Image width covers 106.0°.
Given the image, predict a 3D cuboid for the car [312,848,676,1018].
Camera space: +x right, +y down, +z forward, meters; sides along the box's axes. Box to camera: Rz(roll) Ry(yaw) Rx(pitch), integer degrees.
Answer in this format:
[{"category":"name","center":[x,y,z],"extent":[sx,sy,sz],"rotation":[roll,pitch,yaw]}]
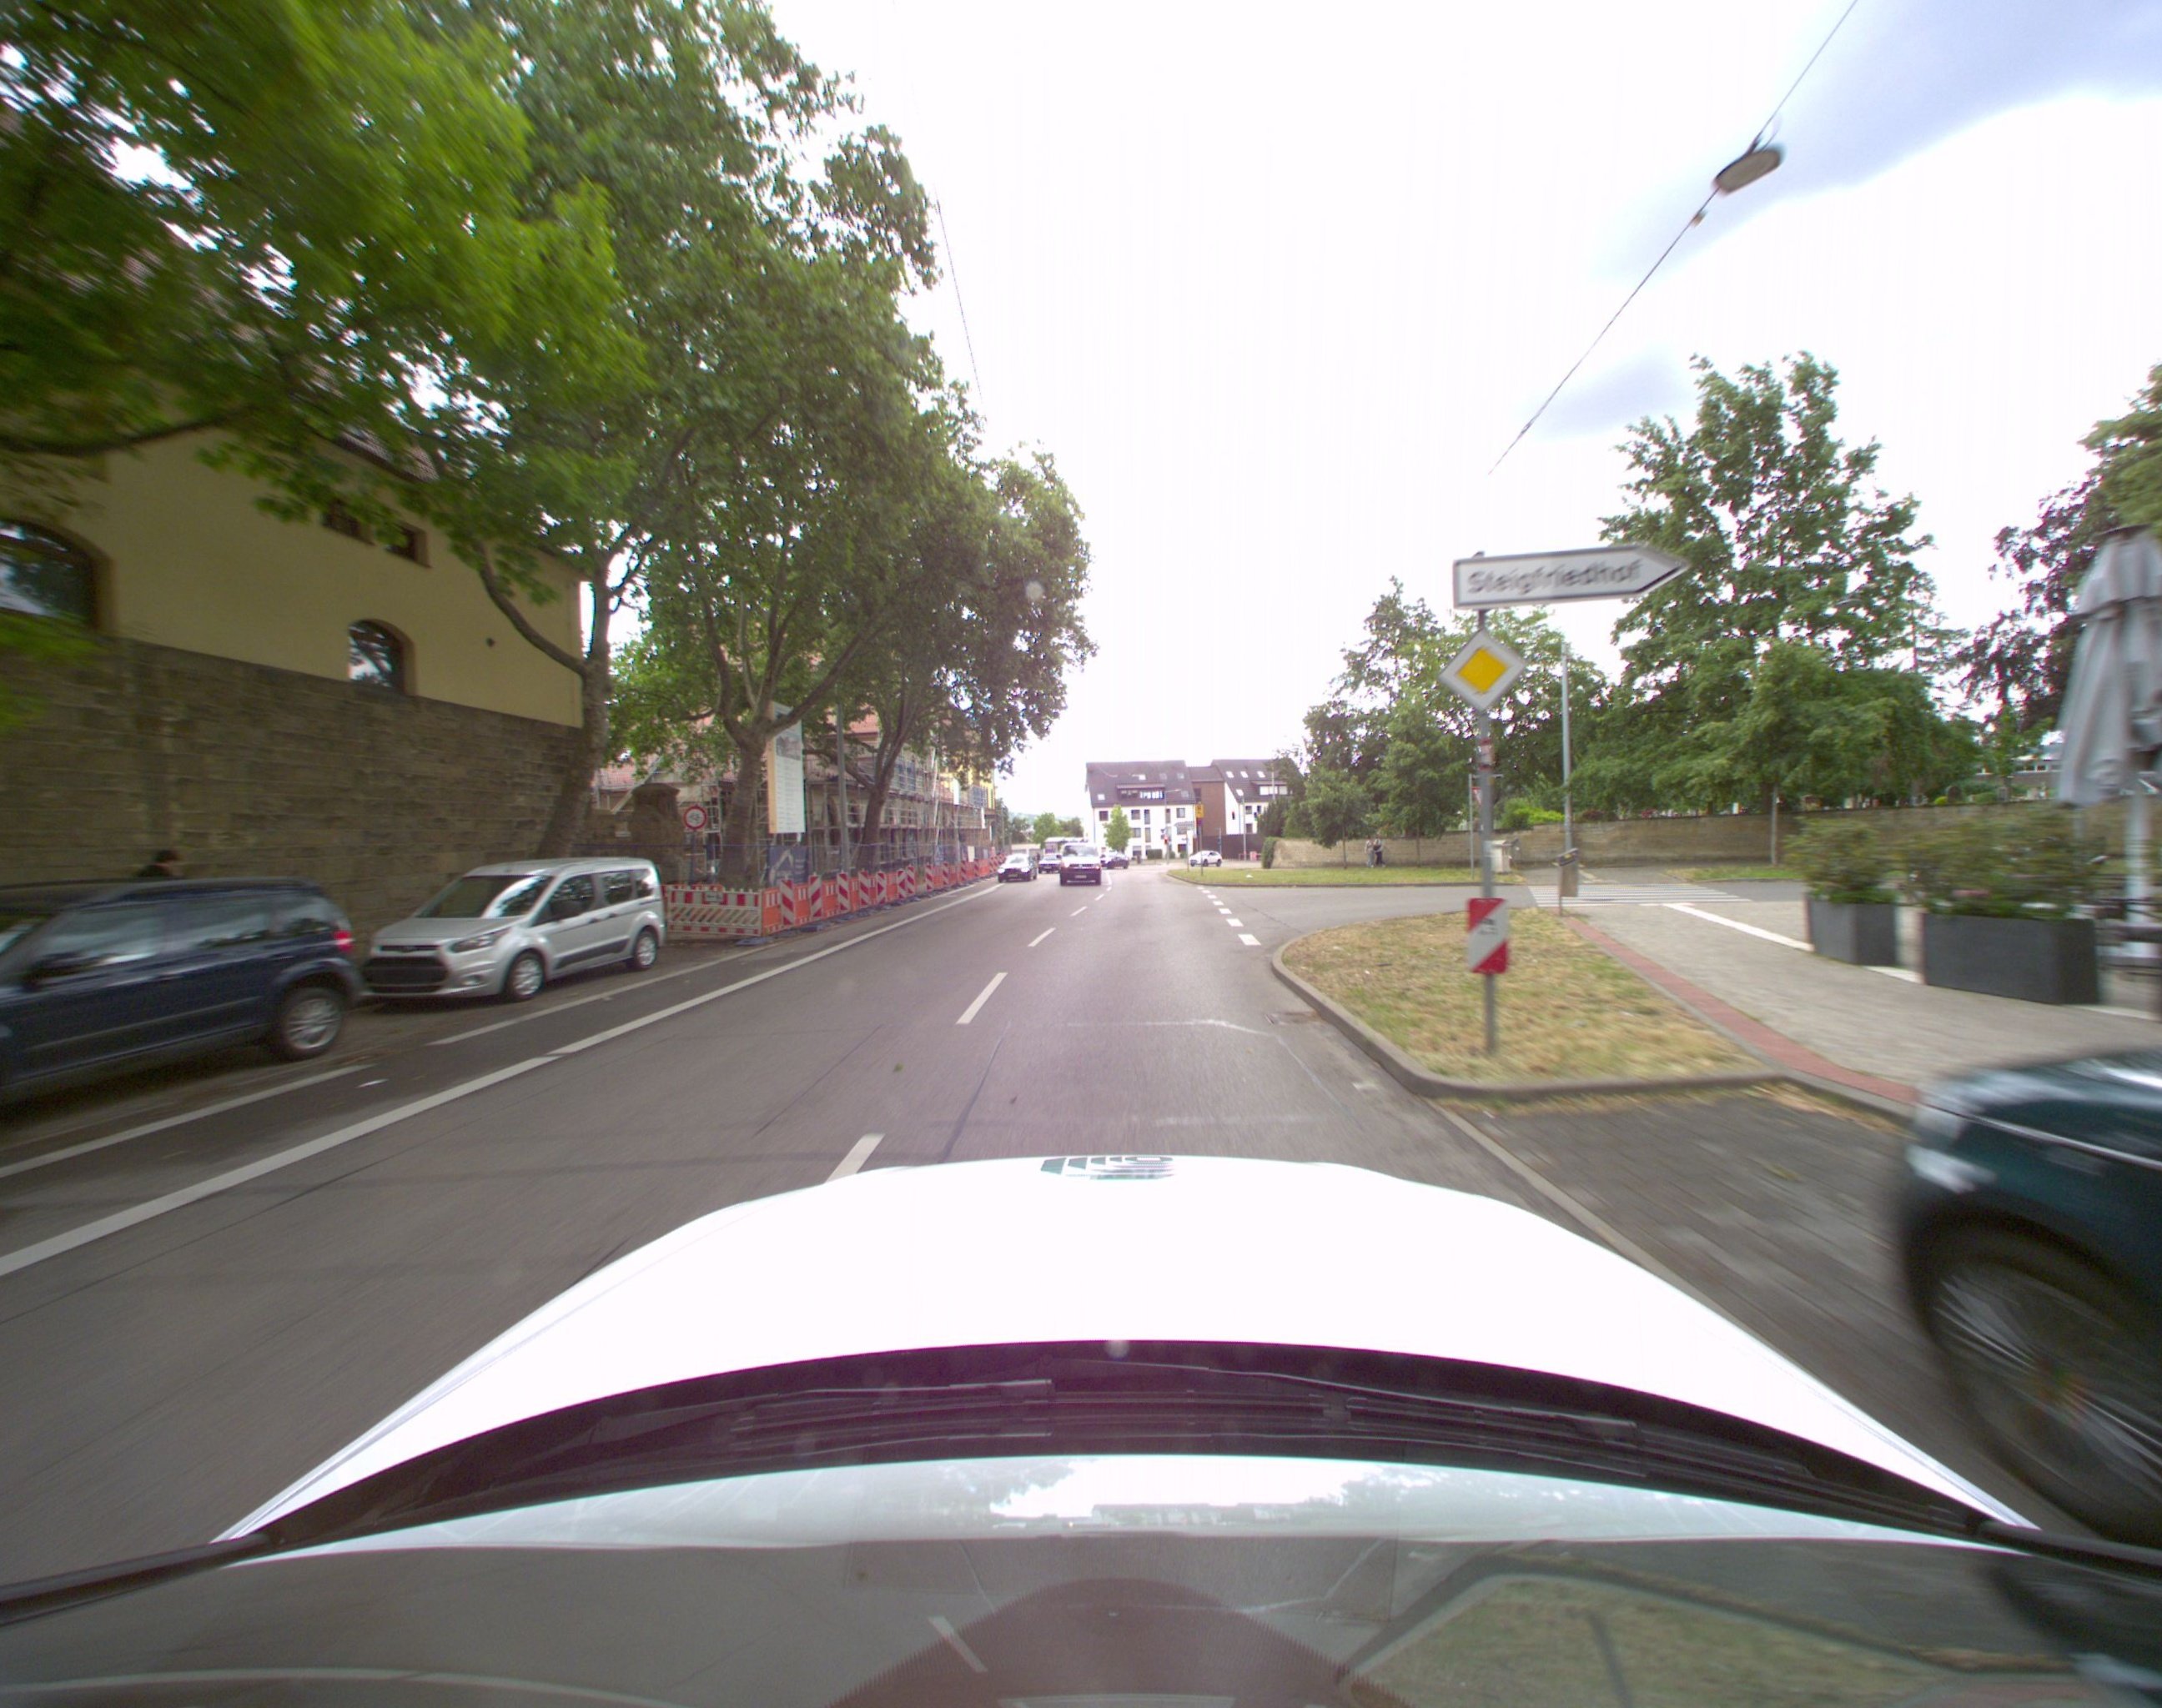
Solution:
[{"category":"car","center":[-7.873,0.908,11.604],"extent":[1.827,1.876,4.418],"rotation":[-3,0,2]}]

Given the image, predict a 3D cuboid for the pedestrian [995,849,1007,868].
[{"category":"pedestrian","center":[-7.278,0.444,74.144],"extent":[0.919,1.720,0.799],"rotation":[0,-1,4]}]

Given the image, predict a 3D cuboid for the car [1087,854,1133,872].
[{"category":"car","center":[2.563,0.759,70.967],"extent":[1.683,1.426,4.276],"rotation":[-2,0,41]}]

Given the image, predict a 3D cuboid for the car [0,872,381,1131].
[{"category":"car","center":[-7.732,0.978,6.084],"extent":[1.504,1.631,4.112],"rotation":[0,-1,-2]}]

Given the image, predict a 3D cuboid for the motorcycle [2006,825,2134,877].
[{"category":"motorcycle","center":[22.895,-0.069,18.881],"extent":[1.979,1.169,0.562],"rotation":[0,-1,11]}]

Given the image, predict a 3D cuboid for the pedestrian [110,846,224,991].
[{"category":"pedestrian","center":[-11.760,0.808,10.500],"extent":[0.590,1.799,0.743],"rotation":[0,-1,1]}]

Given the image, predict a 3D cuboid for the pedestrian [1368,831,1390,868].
[{"category":"pedestrian","center":[14.255,-0.208,38.951],"extent":[0.715,1.734,0.654],"rotation":[-2,0,-32]}]

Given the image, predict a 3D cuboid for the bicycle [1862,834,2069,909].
[{"category":"bicycle","center":[13.945,0.279,12.918],"extent":[2.162,1.066,0.604],"rotation":[-3,-1,18]}]

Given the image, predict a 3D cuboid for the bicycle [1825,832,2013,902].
[{"category":"bicycle","center":[14.295,0.232,13.961],"extent":[2.162,1.066,0.604],"rotation":[-3,-1,18]}]

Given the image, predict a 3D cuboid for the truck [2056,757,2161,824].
[{"category":"truck","center":[50.426,-2.991,38.511],"extent":[2.203,2.835,5.777],"rotation":[0,-1,8]}]

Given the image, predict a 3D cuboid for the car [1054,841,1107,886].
[{"category":"car","center":[0.056,0.424,38.322],"extent":[2.196,1.931,5.243],"rotation":[-1,0,2]}]

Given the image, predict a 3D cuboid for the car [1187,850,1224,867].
[{"category":"car","center":[13.466,0.502,87.720],"extent":[1.774,1.611,4.535],"rotation":[-2,-3,42]}]

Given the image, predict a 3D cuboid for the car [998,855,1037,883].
[{"category":"car","center":[-3.436,0.769,44.850],"extent":[1.693,1.426,4.250],"rotation":[-1,0,1]}]

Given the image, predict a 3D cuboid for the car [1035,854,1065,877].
[{"category":"car","center":[-2.149,0.776,57.515],"extent":[1.795,1.458,4.636],"rotation":[-1,0,1]}]

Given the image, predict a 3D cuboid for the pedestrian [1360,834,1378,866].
[{"category":"pedestrian","center":[14.823,-0.207,41.915],"extent":[0.583,1.585,0.569],"rotation":[-5,1,-28]}]

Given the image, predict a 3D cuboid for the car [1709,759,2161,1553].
[{"category":"car","center":[2.923,0.581,0.952],"extent":[1.559,1.610,3.655],"rotation":[-3,0,1]}]
